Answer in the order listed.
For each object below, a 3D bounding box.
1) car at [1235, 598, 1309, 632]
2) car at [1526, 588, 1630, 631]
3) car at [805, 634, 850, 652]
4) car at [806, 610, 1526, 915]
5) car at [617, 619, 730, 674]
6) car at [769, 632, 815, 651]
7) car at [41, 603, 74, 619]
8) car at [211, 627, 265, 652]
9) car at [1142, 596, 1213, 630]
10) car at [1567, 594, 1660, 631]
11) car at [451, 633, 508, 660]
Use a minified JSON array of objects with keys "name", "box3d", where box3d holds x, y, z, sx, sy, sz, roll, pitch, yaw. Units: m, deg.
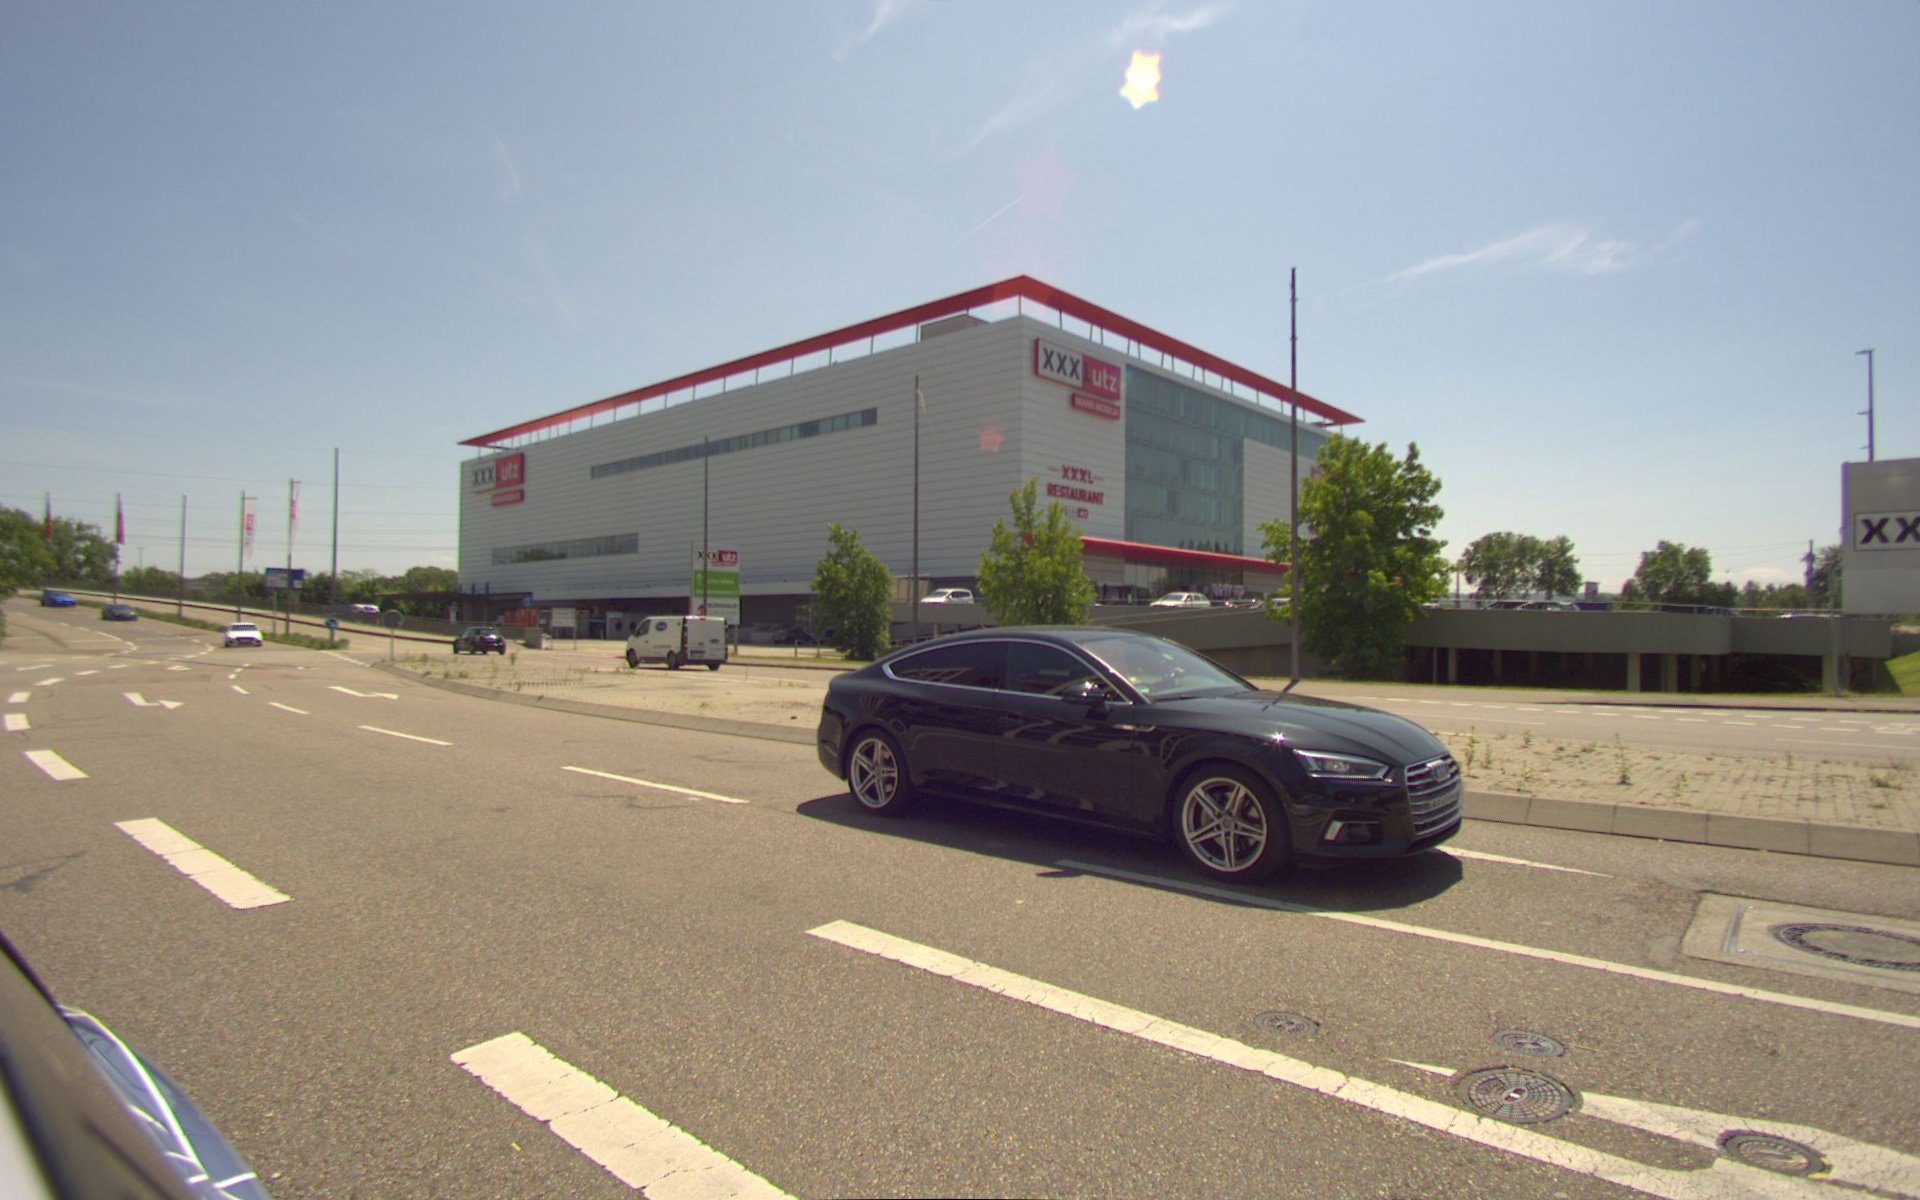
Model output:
[{"name":"car","box3d":[19.652,0.939,63.766,3.999,2.029,1.972,-1,-2,42]},{"name":"car","box3d":[29.674,0.501,48.672,3.997,1.946,1.973,-1,-2,41]},{"name":"car","box3d":[-11.488,3.715,87.679,1.959,1.507,3.437,-1,-2,42]},{"name":"car","box3d":[1.068,0.824,6.850,4.532,1.401,1.729,-2,-2,43]},{"name":"car","box3d":[-10.590,1.691,37.199,4.842,1.864,1.810,-2,-5,45]},{"name":"car","box3d":[-15.060,3.676,90.615,1.911,1.632,3.699,-1,-2,40]},{"name":"car","box3d":[-88.890,1.089,99.649,4.402,1.424,1.779,3,1,40]},{"name":"car","box3d":[-44.403,2.409,62.209,4.227,1.461,1.713,-2,-3,40]},{"name":"car","box3d":[11.895,0.734,55.225,2.000,1.781,4.141,-1,-2,43]},{"name":"car","box3d":[34.781,0.694,53.910,3.995,1.923,1.974,-1,-2,39]},{"name":"car","box3d":[-24.985,2.405,52.537,1.832,1.312,3.901,3,-3,-38]}]
